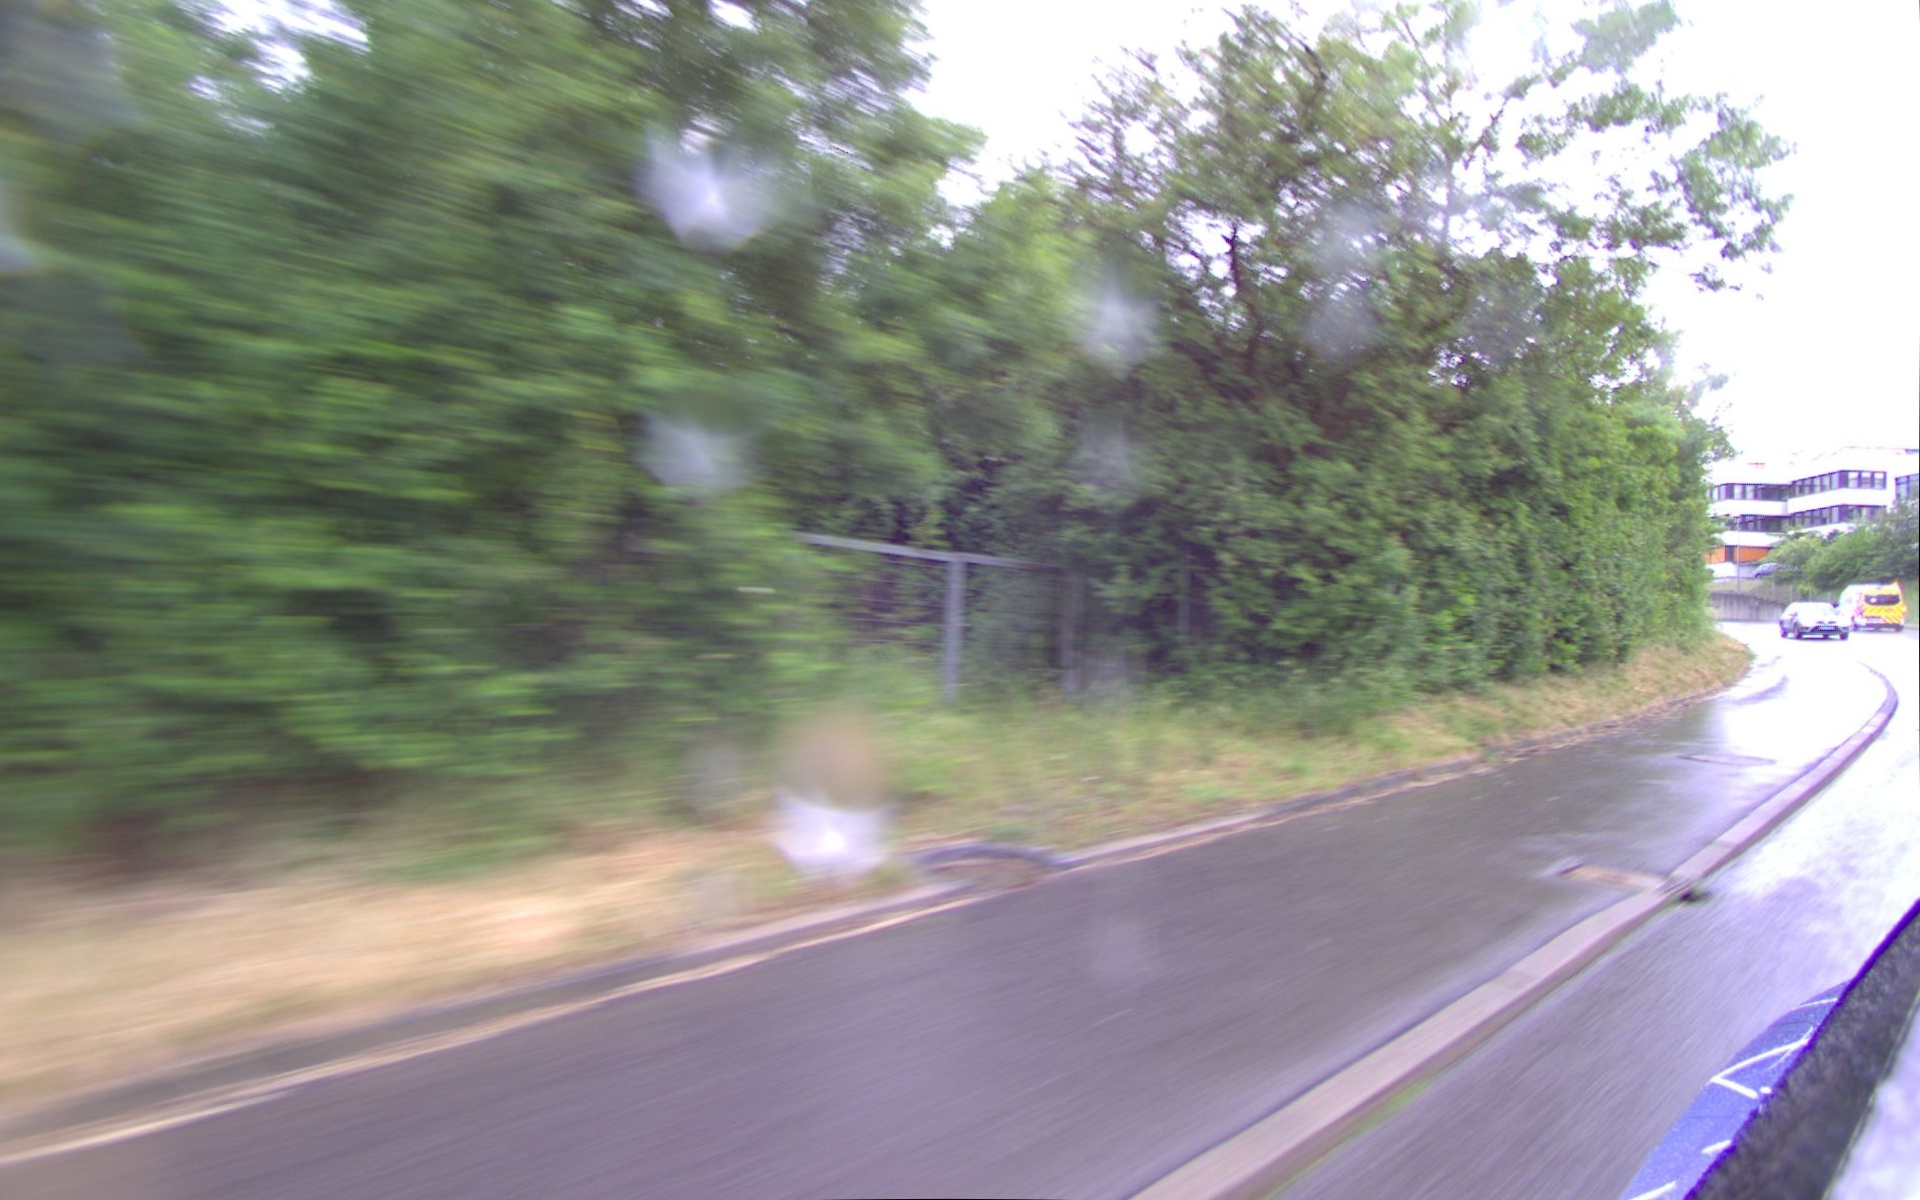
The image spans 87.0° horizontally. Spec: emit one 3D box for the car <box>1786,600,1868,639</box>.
[{"bbox_3d":[37.191,0.829,43.514,1.860,1.459,4.330,3,1,30],"label":"car"}]

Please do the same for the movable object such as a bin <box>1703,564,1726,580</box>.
[{"bbox_3d":[66.452,-2.486,89.166,1.226,1.363,1.212,1,0,14],"label":"movable object such as a bin"}]

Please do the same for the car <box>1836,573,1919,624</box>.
[{"bbox_3d":[47.741,-0.054,52.608,2.031,2.449,5.403,-2,-1,27],"label":"car"}]
